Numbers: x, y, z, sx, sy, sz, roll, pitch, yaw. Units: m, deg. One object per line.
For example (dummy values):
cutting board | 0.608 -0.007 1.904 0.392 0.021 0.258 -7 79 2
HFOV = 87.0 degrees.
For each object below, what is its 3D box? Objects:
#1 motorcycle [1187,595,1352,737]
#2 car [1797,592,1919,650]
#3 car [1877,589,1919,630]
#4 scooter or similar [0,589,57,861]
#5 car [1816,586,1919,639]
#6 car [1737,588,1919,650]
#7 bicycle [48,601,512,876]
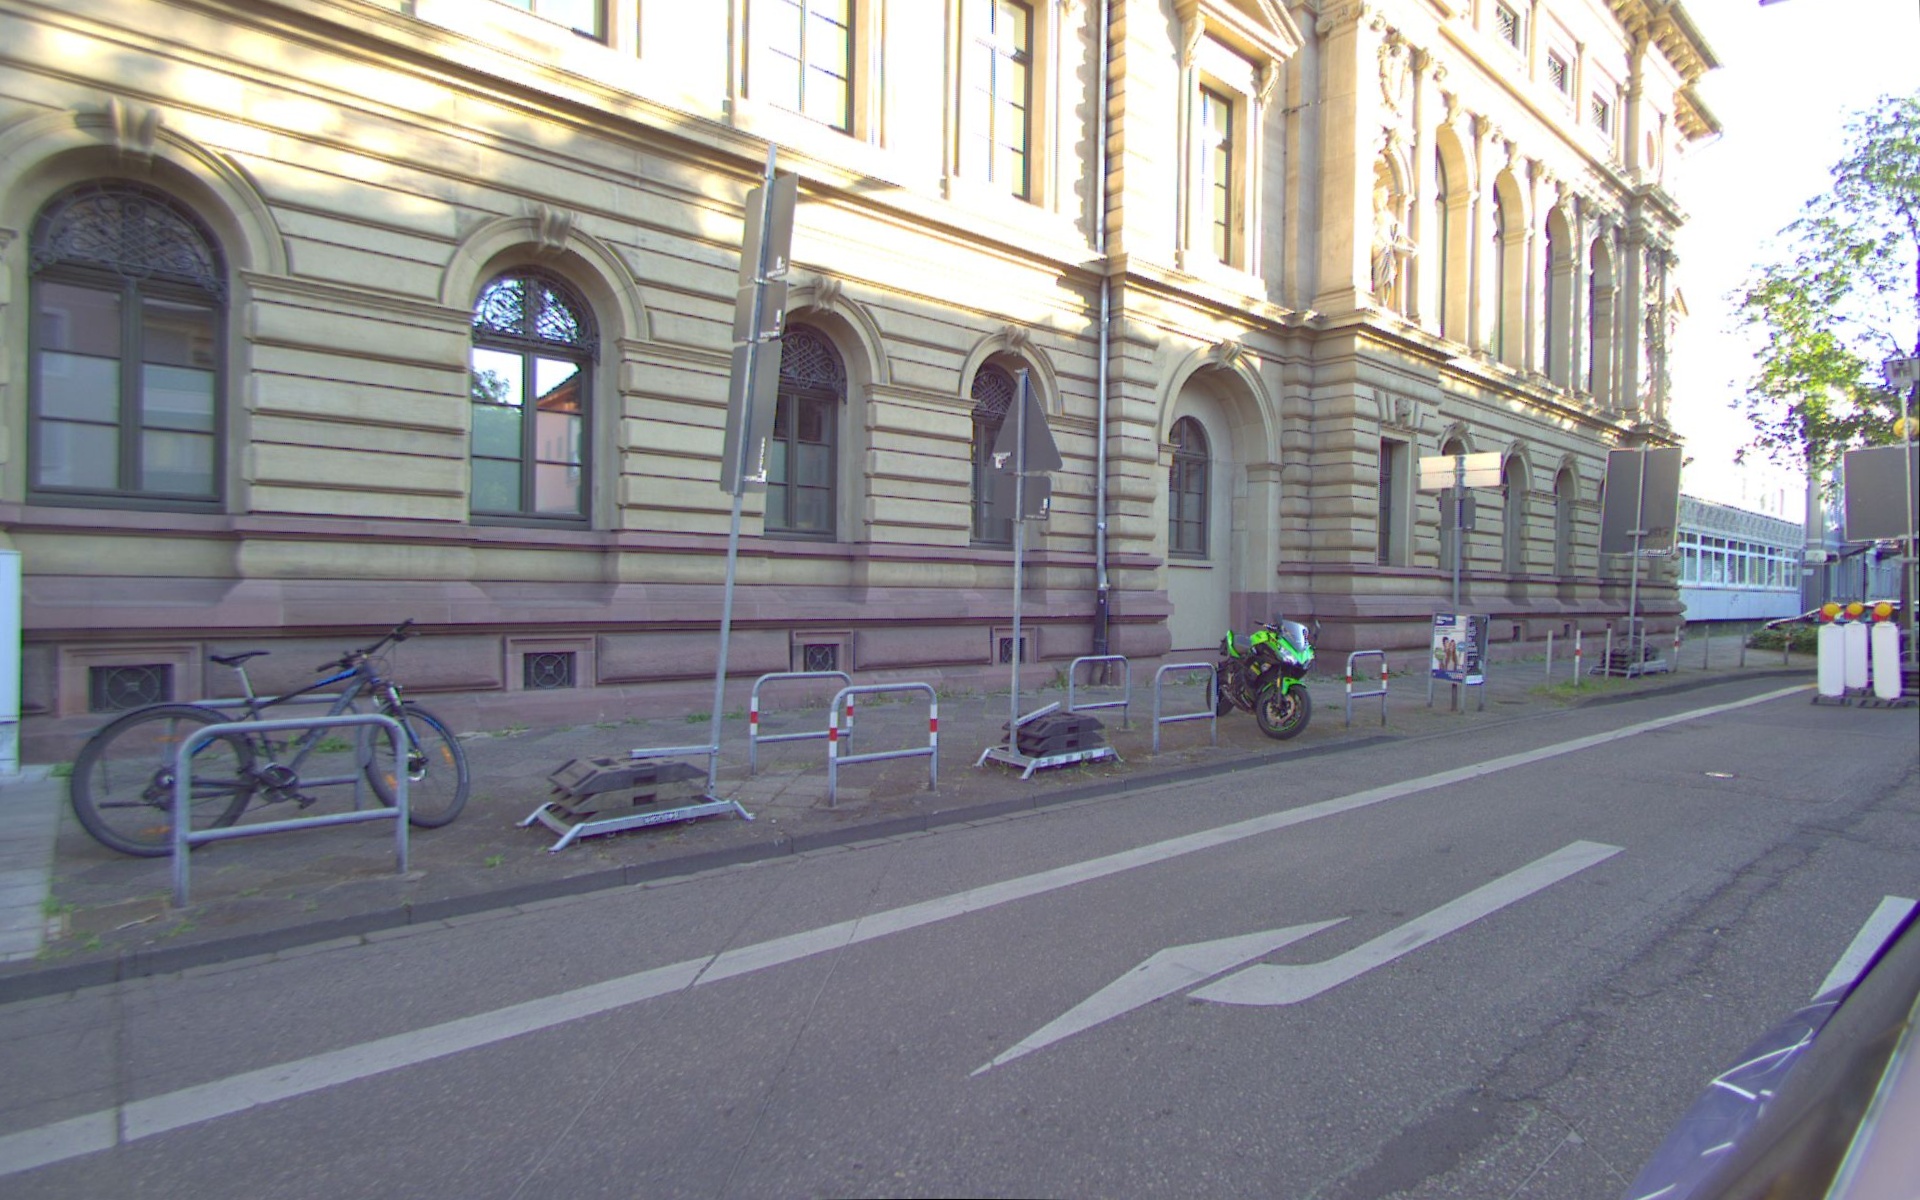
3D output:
motorcycle | 3.165 0.624 10.611 0.695 1.229 2.109 2 3 -11
car | 28.483 0.662 30.803 1.643 1.513 4.367 0 4 -41
car | 41.253 0.498 42.163 1.704 1.644 4.364 0 3 -43
scooter or similar | -4.631 0.582 4.498 0.571 1.210 1.137 1 3 -22
car | 32.940 0.467 35.372 2.020 1.662 4.364 0 4 -43
car | 25.863 0.516 29.903 1.804 1.482 4.362 0 4 -44
bicycle | -3.511 0.610 5.351 1.910 1.148 0.829 0 4 -41
